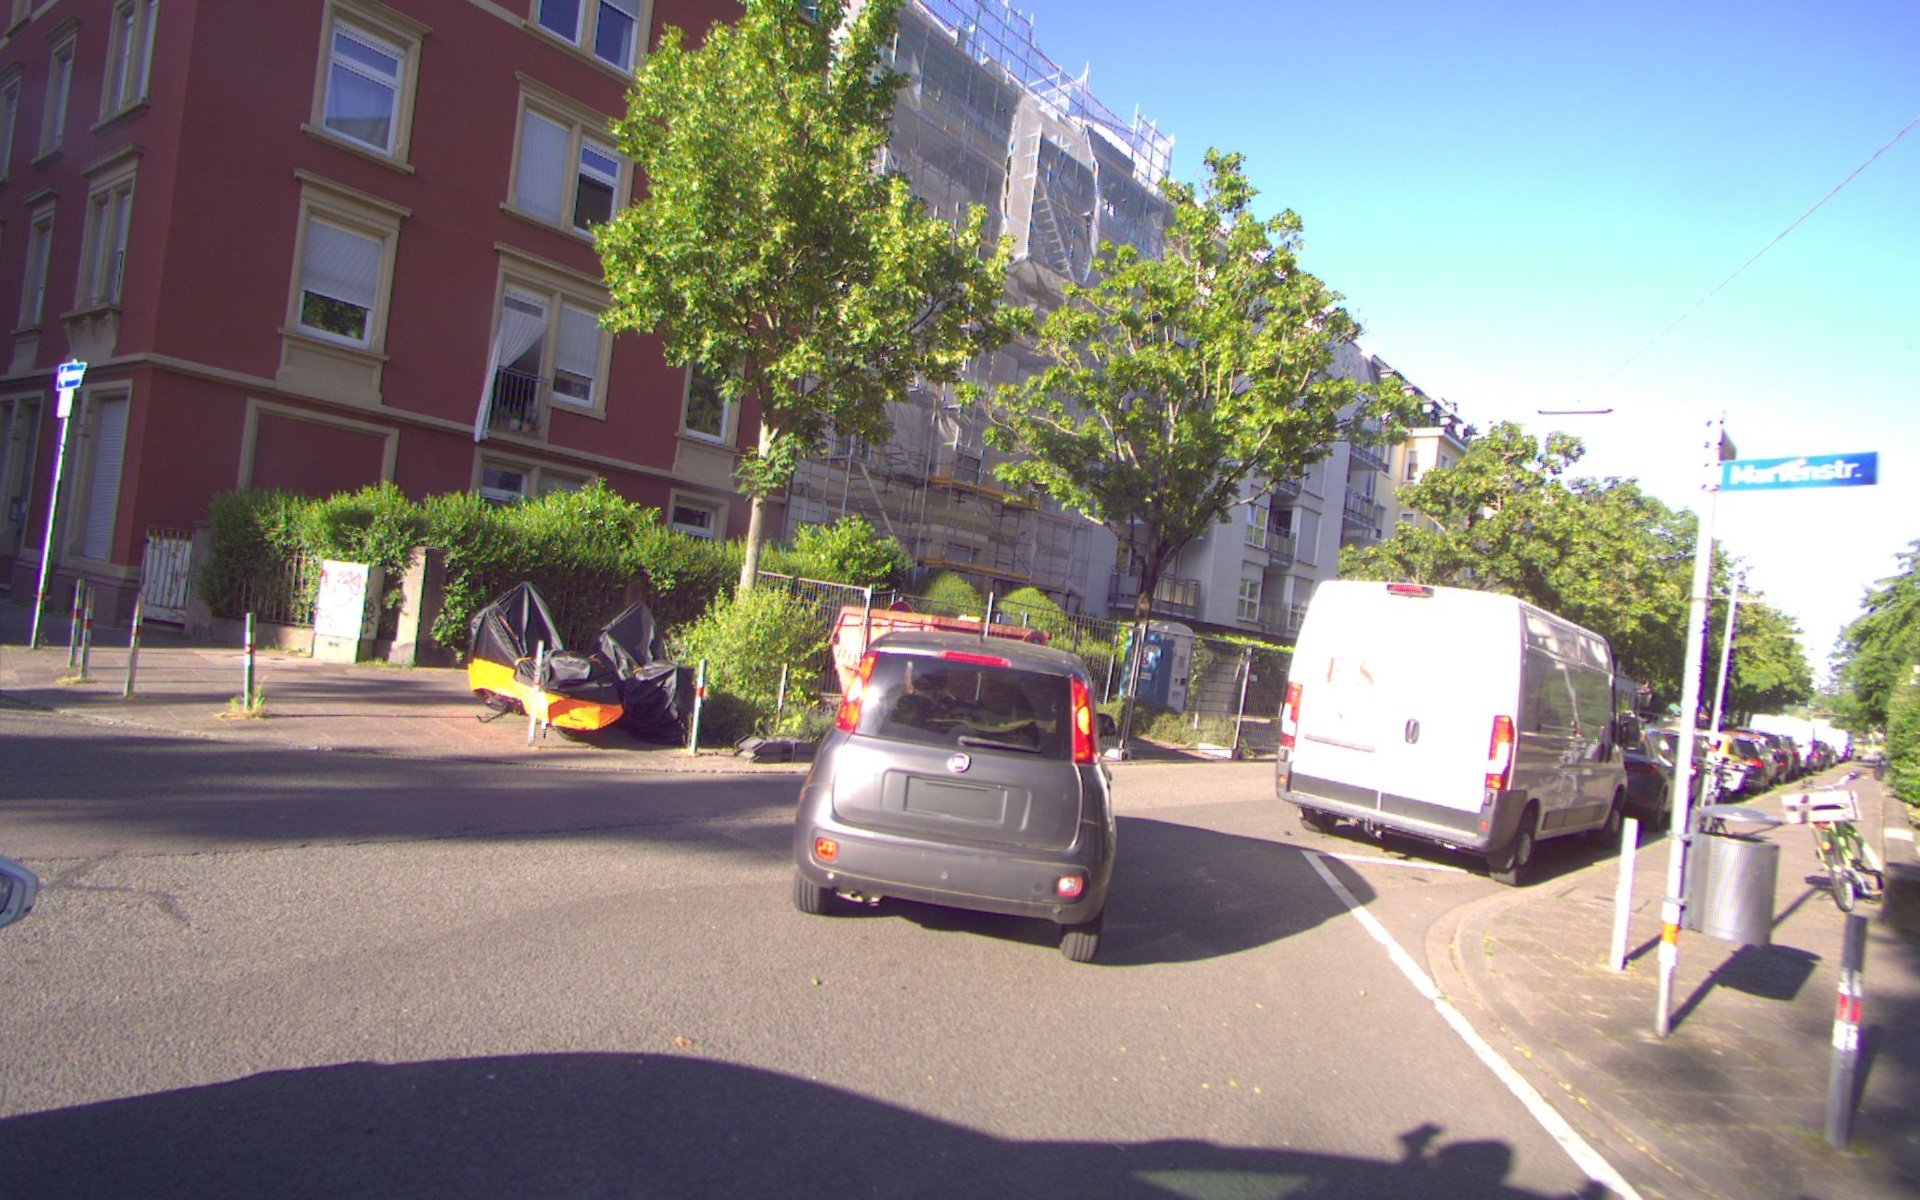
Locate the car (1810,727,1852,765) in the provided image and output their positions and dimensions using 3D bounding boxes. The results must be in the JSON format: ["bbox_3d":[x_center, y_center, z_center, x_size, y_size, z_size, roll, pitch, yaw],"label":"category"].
[{"bbox_3d":[64.660,10.803,74.667,1.974,2.482,3.979,5,-2,44],"label":"car"}]

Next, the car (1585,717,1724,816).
[{"bbox_3d":[13.432,3.127,19.357,1.764,1.439,4.203,5,-3,40],"label":"car"}]

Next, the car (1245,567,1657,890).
[{"bbox_3d":[5.560,1.286,10.855,2.275,2.496,5.636,5,-2,43],"label":"car"}]

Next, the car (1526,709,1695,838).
[{"bbox_3d":[10.059,2.574,15.427,1.702,1.481,3.872,5,-3,39],"label":"car"}]

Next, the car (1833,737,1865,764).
[{"bbox_3d":[83.788,14.152,94.816,1.974,2.227,3.979,5,-2,44],"label":"car"}]

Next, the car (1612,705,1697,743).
[{"bbox_3d":[40.893,7.272,59.262,3.942,1.682,1.721,5,-2,39],"label":"car"}]

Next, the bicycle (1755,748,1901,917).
[{"bbox_3d":[7.911,2.060,9.139,1.857,1.305,0.632,8,-2,-40],"label":"bicycle"}]

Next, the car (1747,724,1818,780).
[{"bbox_3d":[31.506,5.783,38.517,1.780,1.787,4.127,5,-2,42],"label":"car"}]

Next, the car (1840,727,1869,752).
[{"bbox_3d":[93.917,14.630,105.634,1.974,2.227,3.979,5,-2,44],"label":"car"}]

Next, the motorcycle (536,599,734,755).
[{"bbox_3d":[-3.678,0.814,11.224,2.509,1.421,0.867,5,-2,43],"label":"motorcycle"}]

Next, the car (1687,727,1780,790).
[{"bbox_3d":[20.982,4.246,27.233,1.764,1.314,4.203,5,-3,40],"label":"car"}]

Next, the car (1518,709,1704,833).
[{"bbox_3d":[10.232,2.590,15.684,1.765,1.455,3.982,5,-3,42],"label":"car"}]

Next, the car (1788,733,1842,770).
[{"bbox_3d":[43.251,7.645,50.872,1.781,1.500,3.979,5,-2,44],"label":"car"}]

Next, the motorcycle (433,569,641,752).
[{"bbox_3d":[-4.457,0.574,10.471,2.587,1.543,0.870,6,-1,43],"label":"motorcycle"}]

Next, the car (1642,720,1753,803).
[{"bbox_3d":[17.364,3.737,23.612,1.764,1.525,4.203,5,-3,40],"label":"car"}]

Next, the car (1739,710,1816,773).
[{"bbox_3d":[35.014,6.037,43.027,2.111,2.220,5.314,5,-2,42],"label":"car"}]

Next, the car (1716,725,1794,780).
[{"bbox_3d":[27.605,5.261,34.884,1.766,1.525,4.200,5,-3,42],"label":"car"}]

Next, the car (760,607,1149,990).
[{"bbox_3d":[0.174,0.970,6.281,1.608,1.500,3.537,7,-2,7],"label":"car"}]

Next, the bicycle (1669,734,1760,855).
[{"bbox_3d":[9.155,2.326,12.175,1.859,1.305,0.468,8,-2,-43],"label":"bicycle"}]

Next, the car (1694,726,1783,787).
[{"bbox_3d":[24.505,4.888,31.617,1.766,1.525,4.199,5,-3,43],"label":"car"}]
